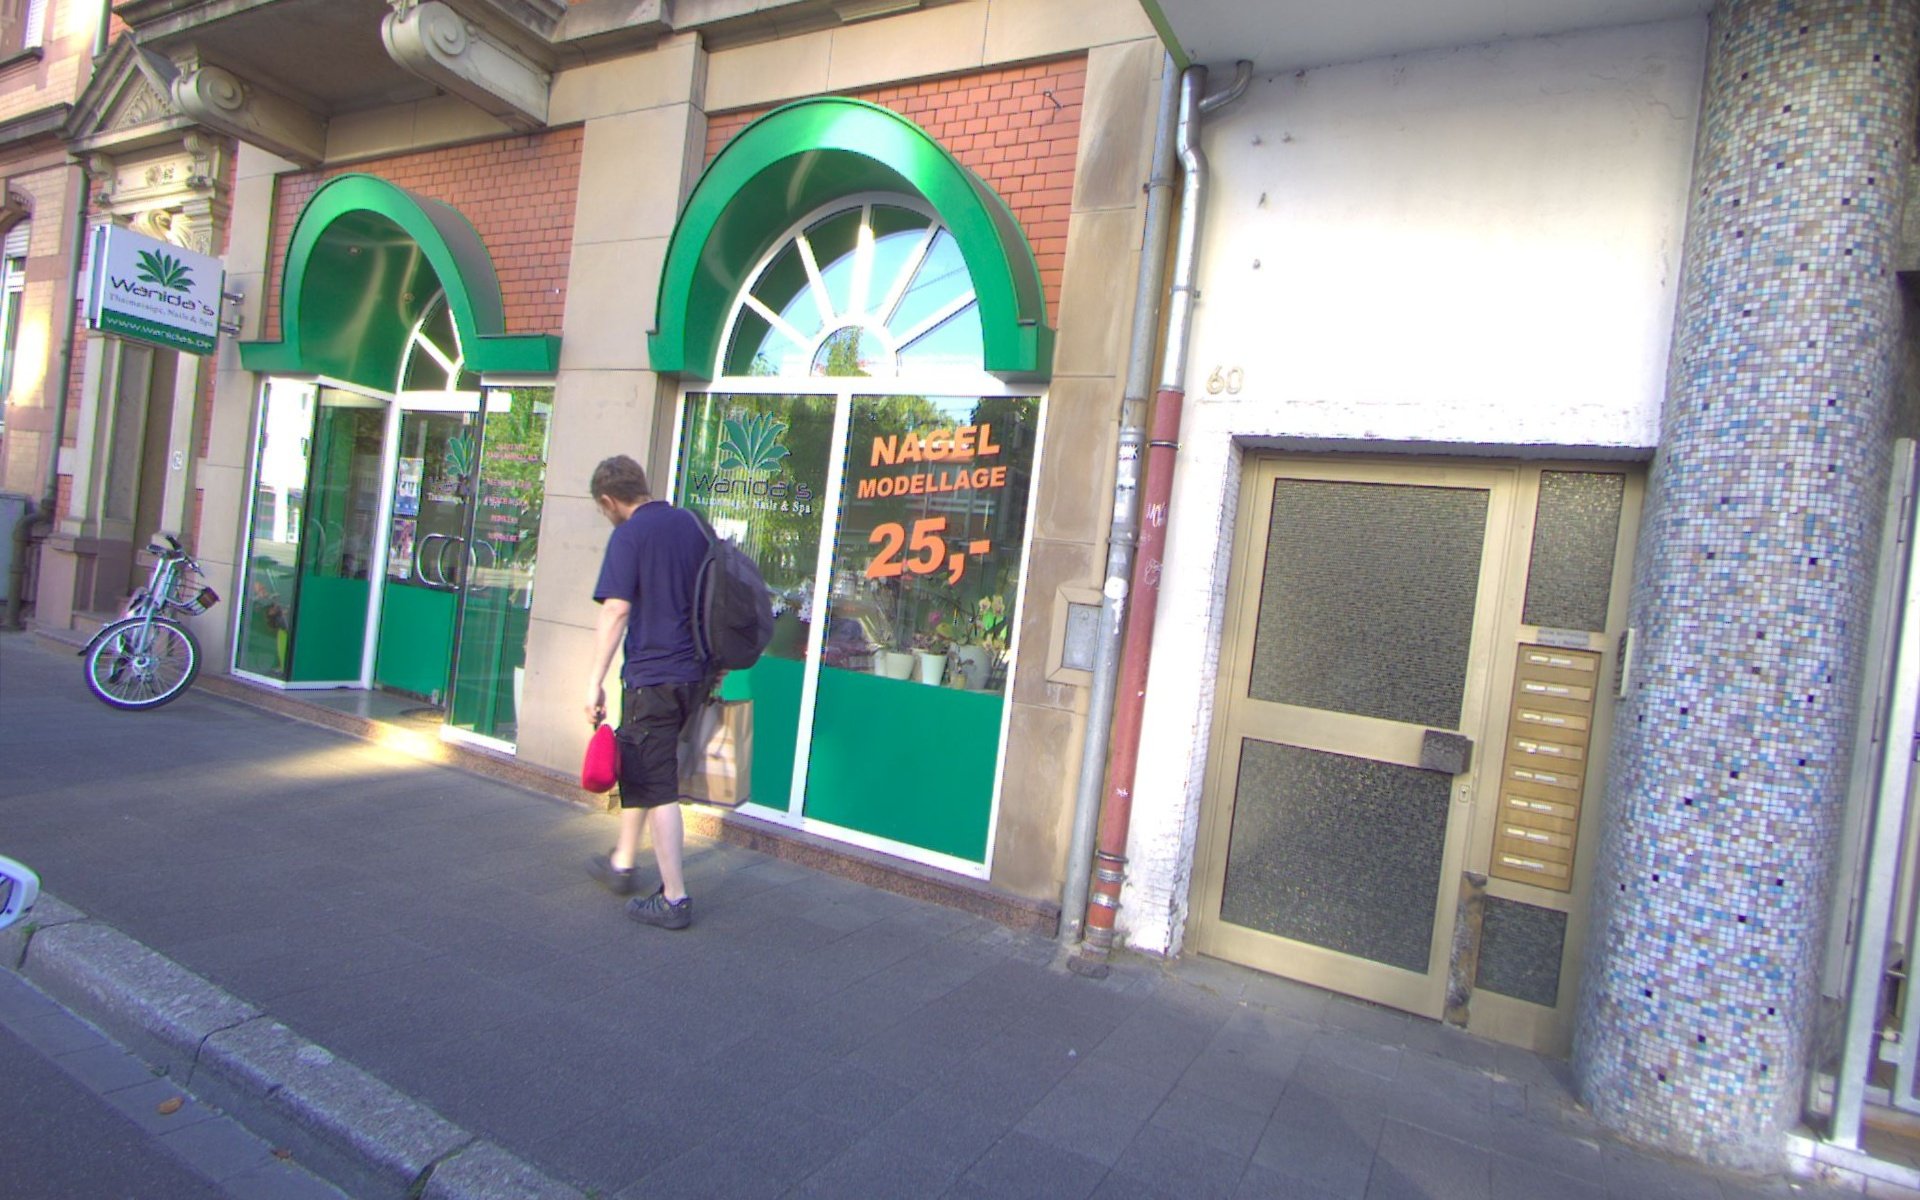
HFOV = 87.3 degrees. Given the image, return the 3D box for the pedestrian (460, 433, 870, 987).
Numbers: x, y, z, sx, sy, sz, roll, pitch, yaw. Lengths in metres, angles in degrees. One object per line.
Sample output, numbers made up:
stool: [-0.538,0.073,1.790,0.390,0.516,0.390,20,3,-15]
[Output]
pedestrian: [-1.139,0.351,3.981,1.036,1.816,0.947,7,2,28]

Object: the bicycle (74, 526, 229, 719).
bicycle: [-5.791,0.123,7.164,0.712,1.167,1.635,4,2,-42]
